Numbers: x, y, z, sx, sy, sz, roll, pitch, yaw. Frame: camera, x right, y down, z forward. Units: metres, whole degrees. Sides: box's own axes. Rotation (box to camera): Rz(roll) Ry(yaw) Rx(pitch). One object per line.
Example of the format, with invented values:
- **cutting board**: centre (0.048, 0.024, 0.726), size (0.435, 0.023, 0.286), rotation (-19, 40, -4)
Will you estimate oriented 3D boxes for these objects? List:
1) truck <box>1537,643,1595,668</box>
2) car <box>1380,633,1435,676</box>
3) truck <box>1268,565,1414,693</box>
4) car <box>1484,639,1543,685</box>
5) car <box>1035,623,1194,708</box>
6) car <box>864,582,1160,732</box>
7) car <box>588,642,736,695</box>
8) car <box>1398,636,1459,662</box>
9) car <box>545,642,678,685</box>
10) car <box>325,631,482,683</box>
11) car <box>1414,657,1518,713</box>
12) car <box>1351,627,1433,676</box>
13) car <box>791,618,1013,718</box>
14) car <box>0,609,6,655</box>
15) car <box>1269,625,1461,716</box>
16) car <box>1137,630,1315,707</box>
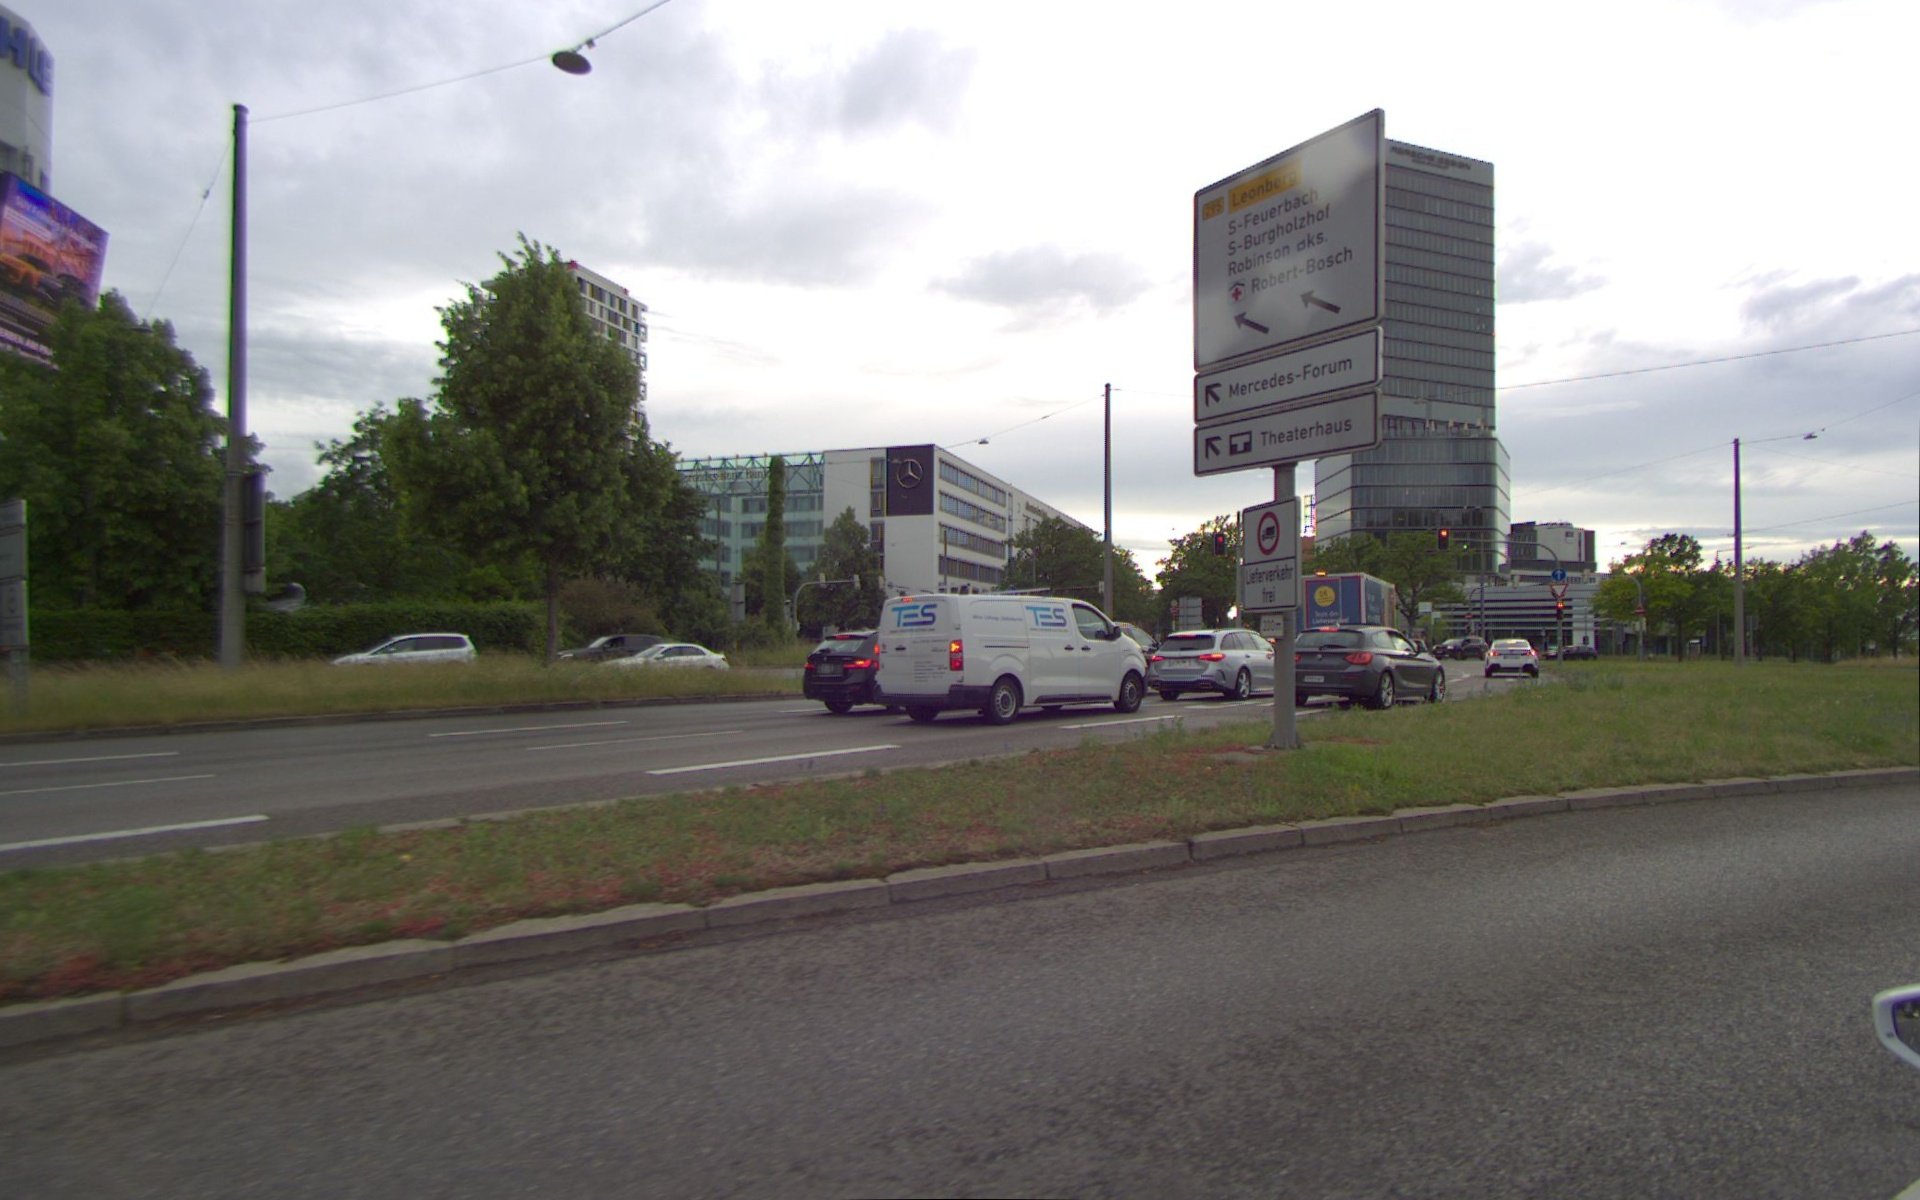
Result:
- **truck**: centre (52.460, 4.819, 87.006), size (3.920, 2.040, 2.001), rotation (0, -2, 17)
- **car**: centre (18.297, 2.239, 41.014), size (1.786, 1.644, 3.995), rotation (0, -3, 28)
- **truck**: centre (11.227, 0.814, 29.187), size (2.630, 3.262, 6.531), rotation (0, -1, 33)
- **car**: centre (21.466, 2.397, 39.012), size (1.891, 1.665, 4.385), rotation (0, -3, 29)
- **car**: centre (3.741, 1.465, 23.916), size (1.817, 1.704, 4.050), rotation (3, 2, 41)
- **car**: centre (0.995, 0.880, 15.930), size (1.884, 1.998, 5.063), rotation (-3, -4, 43)
- **car**: centre (-10.287, 2.306, 34.854), size (4.568, 1.680, 1.877), rotation (2, -2, -40)
- **car**: centre (32.268, 3.368, 69.191), size (3.682, 1.639, 1.739), rotation (1, 0, -19)
- **car**: centre (-13.507, 2.417, 39.084), size (4.536, 1.503, 1.916), rotation (1, -1, -37)
- **car**: centre (-20.366, 2.034, 36.896), size (4.713, 1.693, 1.974), rotation (1, -1, -44)
- **car**: centre (21.898, 3.622, 43.508), size (3.928, 2.041, 1.886), rotation (0, 2, 29)
- **car**: centre (15.287, 1.765, 35.440), size (1.966, 1.587, 3.989), rotation (0, -1, 33)
- **car**: centre (-0.934, 1.186, 18.133), size (1.881, 1.584, 3.985), rotation (-3, -4, 37)
- **car**: centre (-48.874, 1.436, 46.213), size (2.355, 2.159, 6.966), rotation (1, -1, 40)
- **car**: centre (7.435, 1.196, 18.283), size (3.950, 1.480, 1.851), rotation (2, -2, -45)
- **car**: centre (5.723, 1.405, 21.252), size (1.818, 1.454, 4.498), rotation (-3, -4, 41)
